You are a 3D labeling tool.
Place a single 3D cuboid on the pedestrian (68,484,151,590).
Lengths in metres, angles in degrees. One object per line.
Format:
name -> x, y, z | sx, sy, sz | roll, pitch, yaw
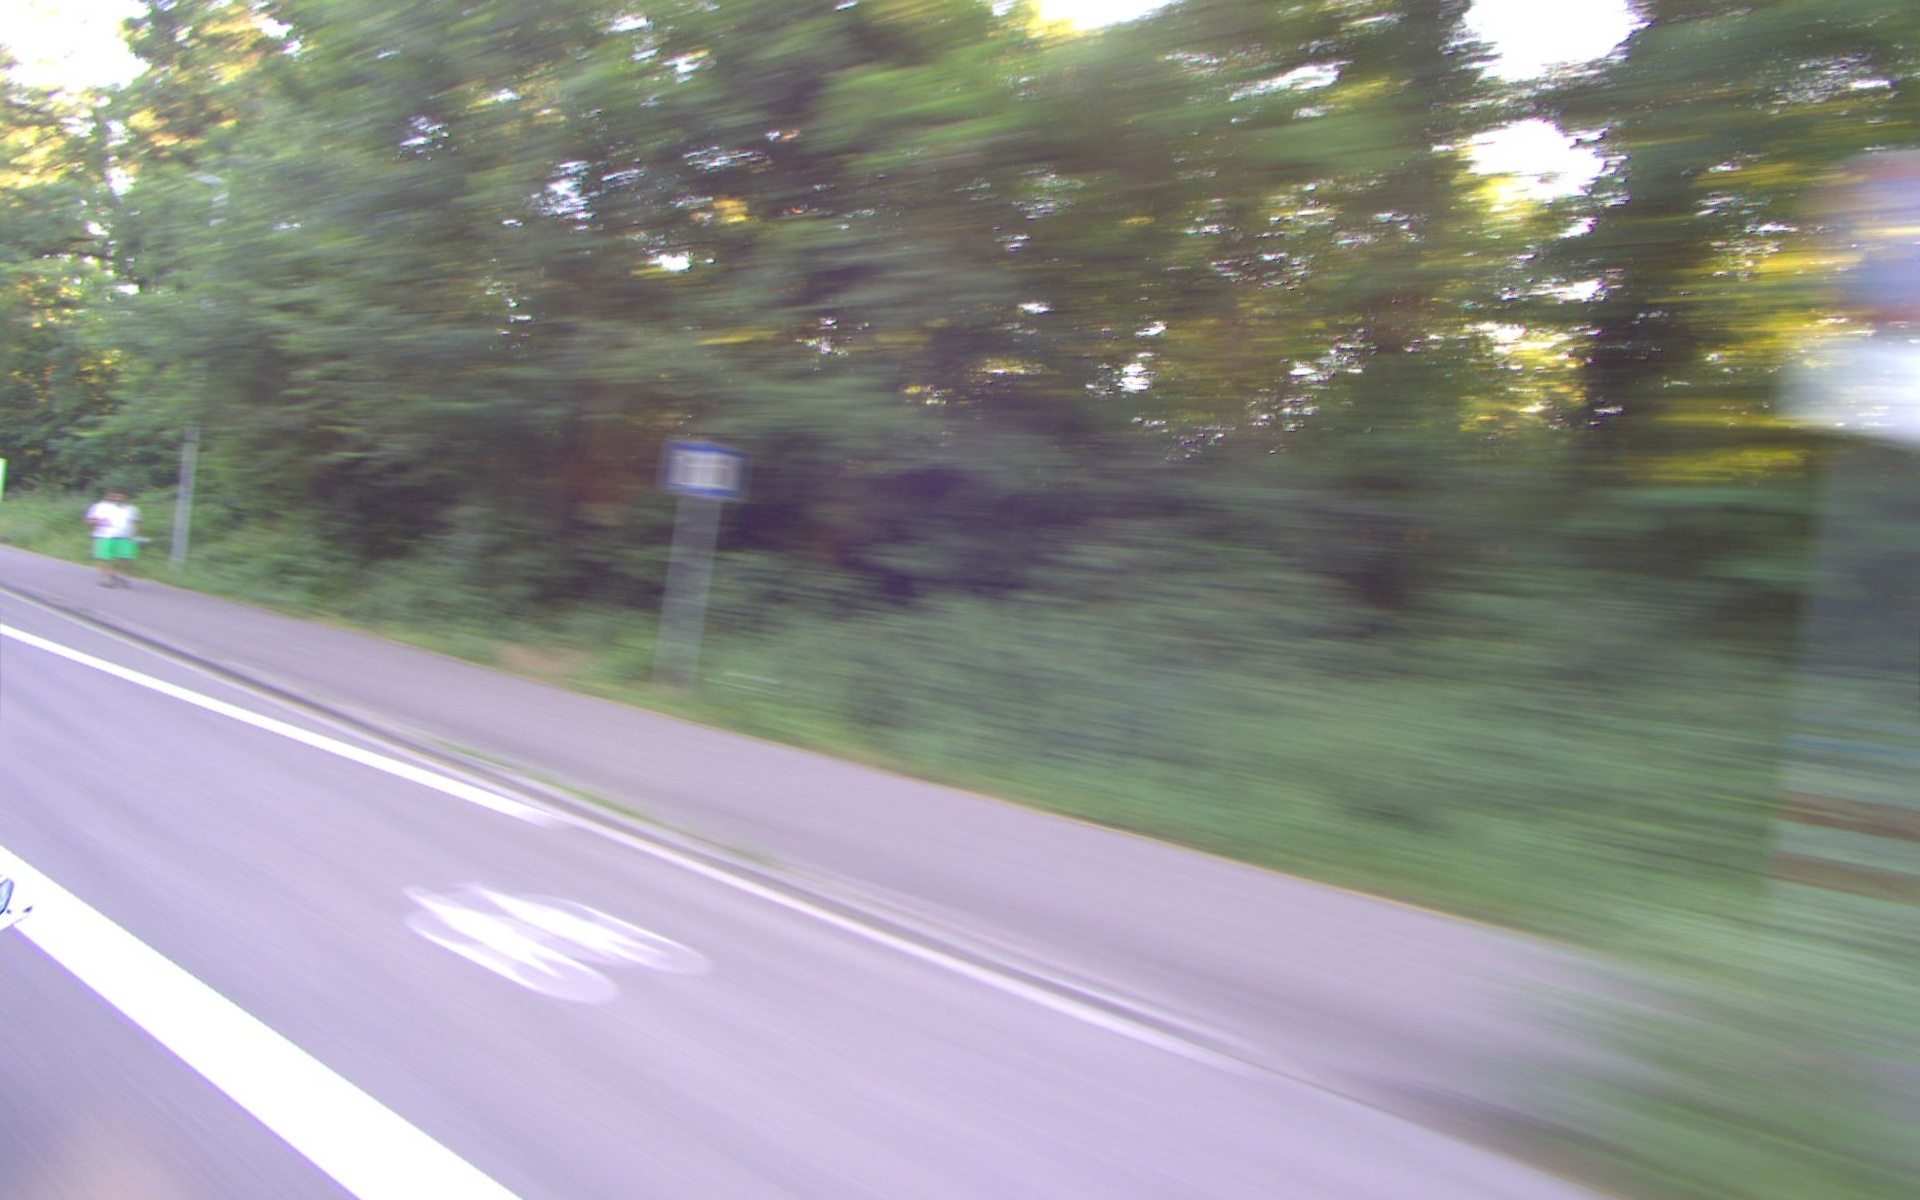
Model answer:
pedestrian -> -15.399, -1.128, 18.223 | 0.714, 1.773, 0.839 | 7, 0, 33
